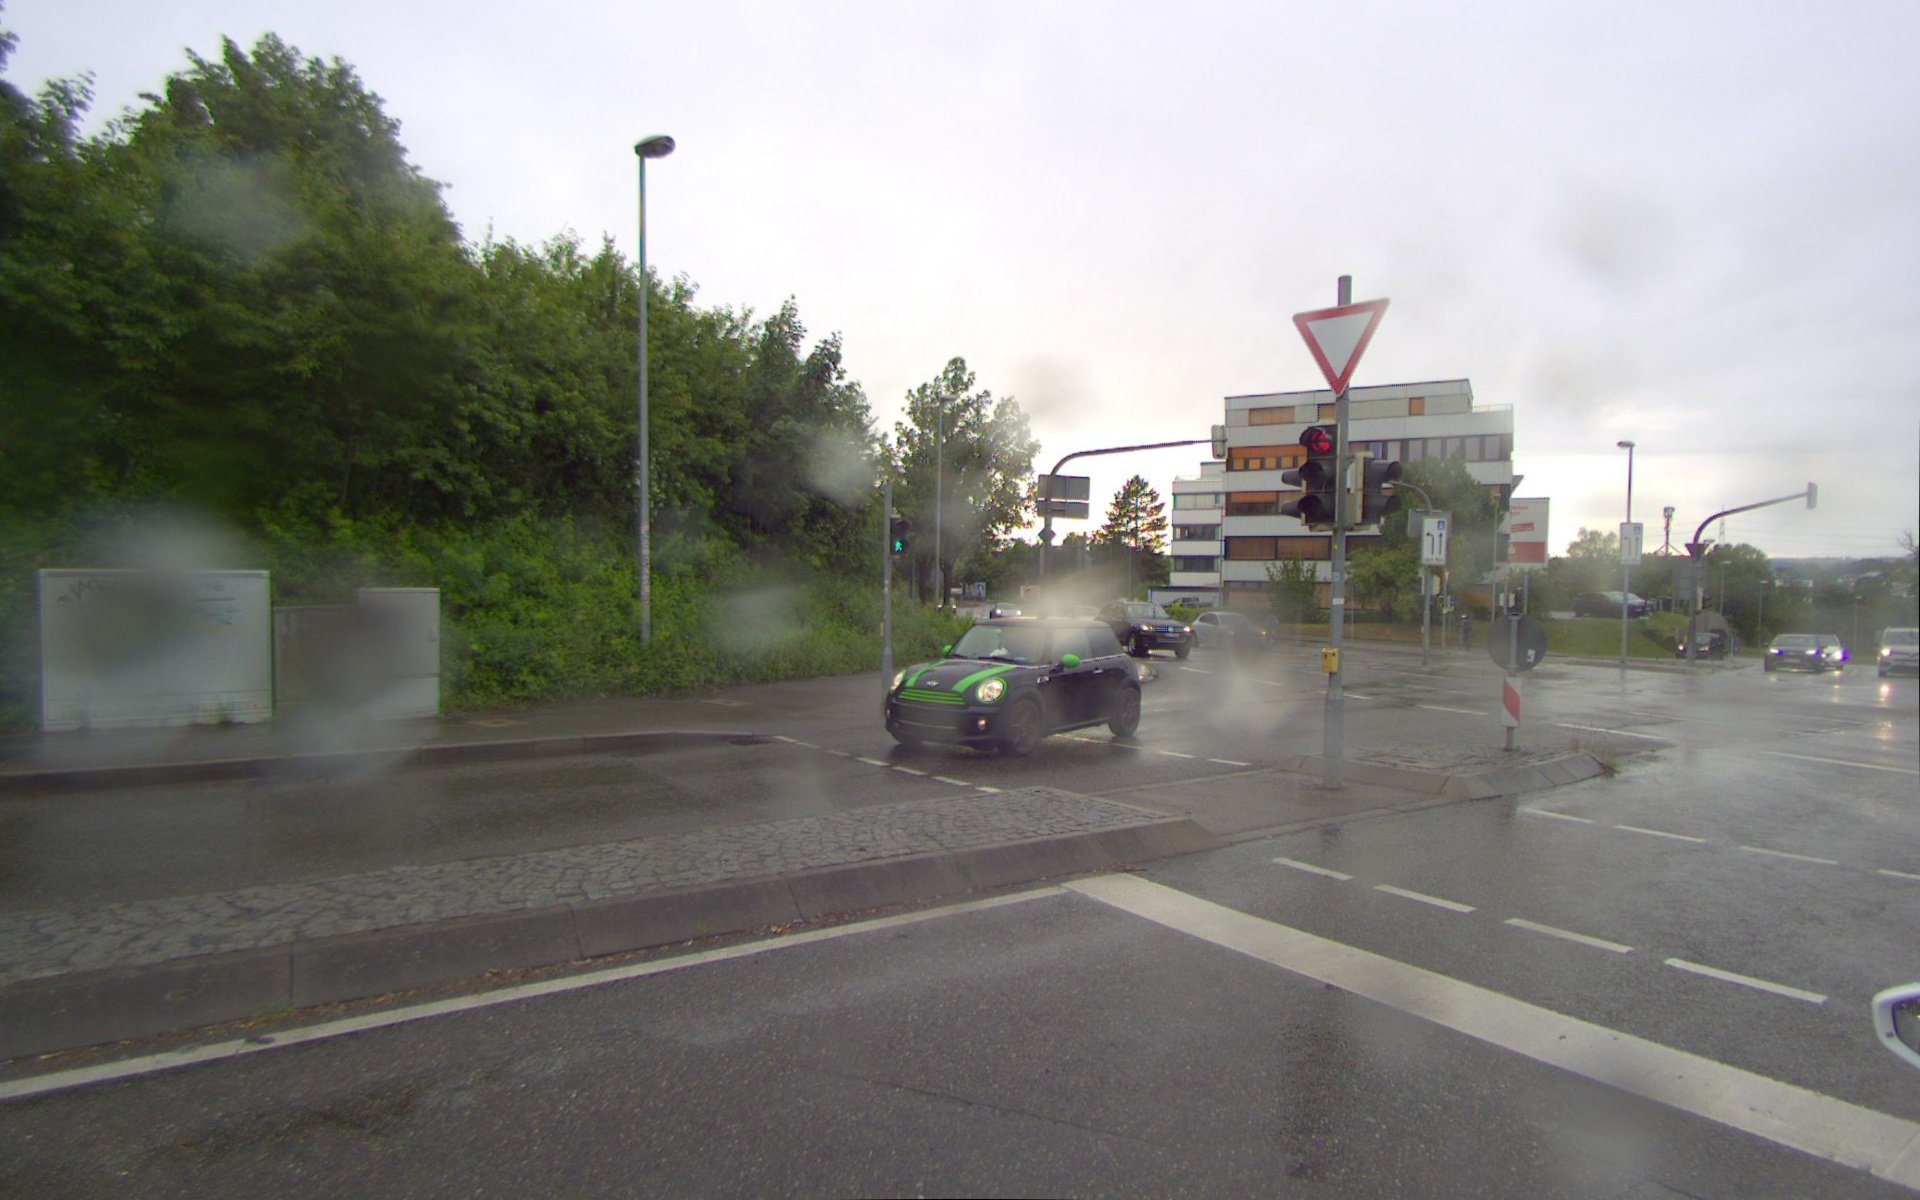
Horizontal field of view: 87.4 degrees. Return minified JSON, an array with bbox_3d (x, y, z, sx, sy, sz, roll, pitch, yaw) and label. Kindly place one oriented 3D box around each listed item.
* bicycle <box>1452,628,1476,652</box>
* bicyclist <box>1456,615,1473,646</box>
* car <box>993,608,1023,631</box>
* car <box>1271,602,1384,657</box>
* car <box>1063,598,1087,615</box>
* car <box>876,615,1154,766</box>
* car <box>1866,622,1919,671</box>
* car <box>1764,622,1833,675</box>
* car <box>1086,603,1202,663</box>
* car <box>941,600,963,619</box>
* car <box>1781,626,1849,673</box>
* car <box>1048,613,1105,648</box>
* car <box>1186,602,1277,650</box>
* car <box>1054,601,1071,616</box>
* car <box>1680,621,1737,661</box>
[{"bbox_3d":[24.366,1.926,48.562,0.597,1.066,1.781,1,1,12],"label":"bicycle"},{"bbox_3d":[24.356,1.467,48.479,0.591,1.465,0.545,2,1,12],"label":"bicyclist"},{"bbox_3d":[3.238,1.290,68.611,1.820,1.377,4.446,1,1,0],"label":"car"},{"bbox_3d":[13.643,1.060,37.526,1.966,1.865,4.143,1,1,-14],"label":"car"},{"bbox_3d":[11.213,0.602,98.044,1.918,1.617,4.000,1,1,1],"label":"car"},{"bbox_3d":[0.764,0.907,11.665,1.653,1.405,3.450,2,1,35],"label":"car"},{"bbox_3d":[34.918,1.674,37.058,3.974,1.639,1.973,1,1,-45],"label":"car"},{"bbox_3d":[33.776,1.893,40.414,1.971,1.920,3.978,2,1,42],"label":"car"},{"bbox_3d":[5.957,1.027,33.127,1.967,1.725,4.597,1,1,-15],"label":"car"},{"bbox_3d":[-0.696,0.800,86.698,1.809,1.534,4.000,1,0,1],"label":"car"},{"bbox_3d":[38.880,2.194,45.659,3.974,1.920,1.973,1,1,-45],"label":"car"},{"bbox_3d":[5.412,1.397,47.258,1.890,1.436,4.150,1,1,-4],"label":"car"},{"bbox_3d":[10.662,0.999,39.753,1.964,1.706,3.992,1,1,-10],"label":"car"},{"bbox_3d":[12.935,1.052,126.561,1.960,1.873,4.001,1,1,4],"label":"car"},{"bbox_3d":[39.356,2.125,52.775,1.972,1.920,3.977,2,1,43],"label":"car"}]
